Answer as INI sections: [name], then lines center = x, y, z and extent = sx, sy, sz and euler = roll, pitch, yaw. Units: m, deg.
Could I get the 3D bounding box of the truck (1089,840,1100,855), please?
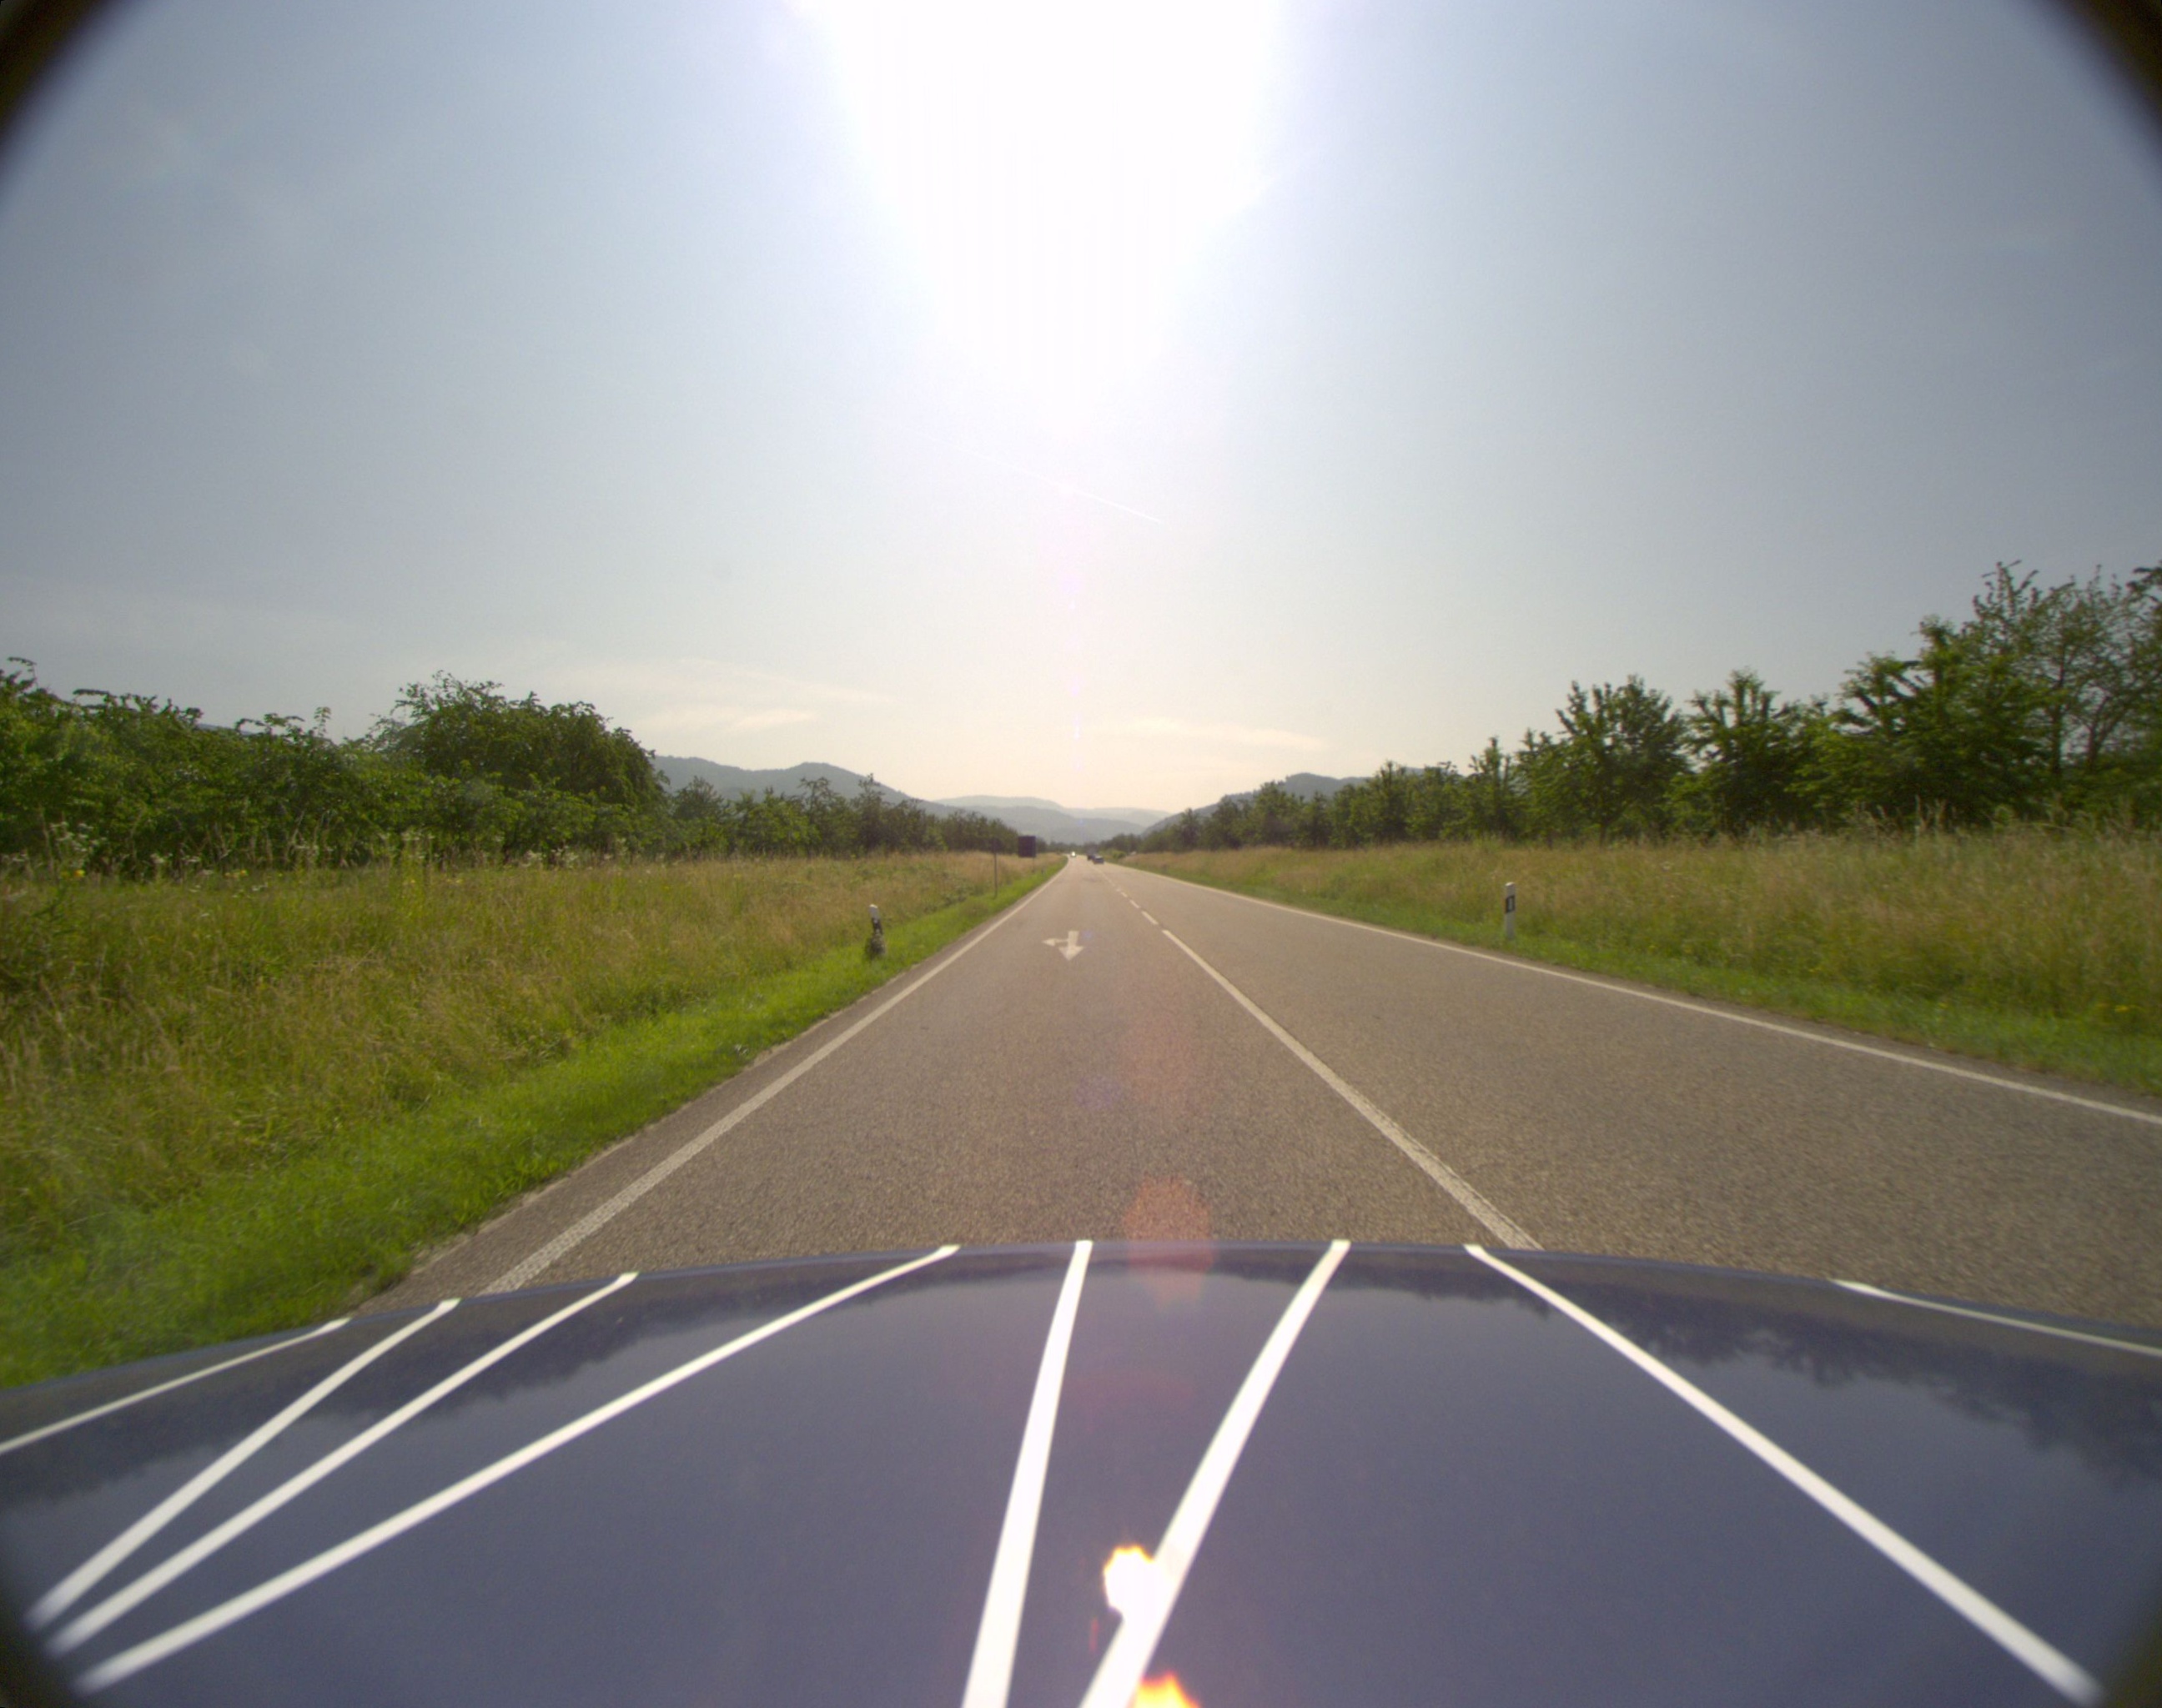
[truck]
center = 3.716, -1.831, 207.160
extent = 2.671, 3.816, 10.207
euler = -2, 0, 0

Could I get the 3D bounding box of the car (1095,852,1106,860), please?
[car]
center = 3.565, 0.372, 139.887
extent = 1.694, 1.400, 4.893
euler = -2, 0, -1
